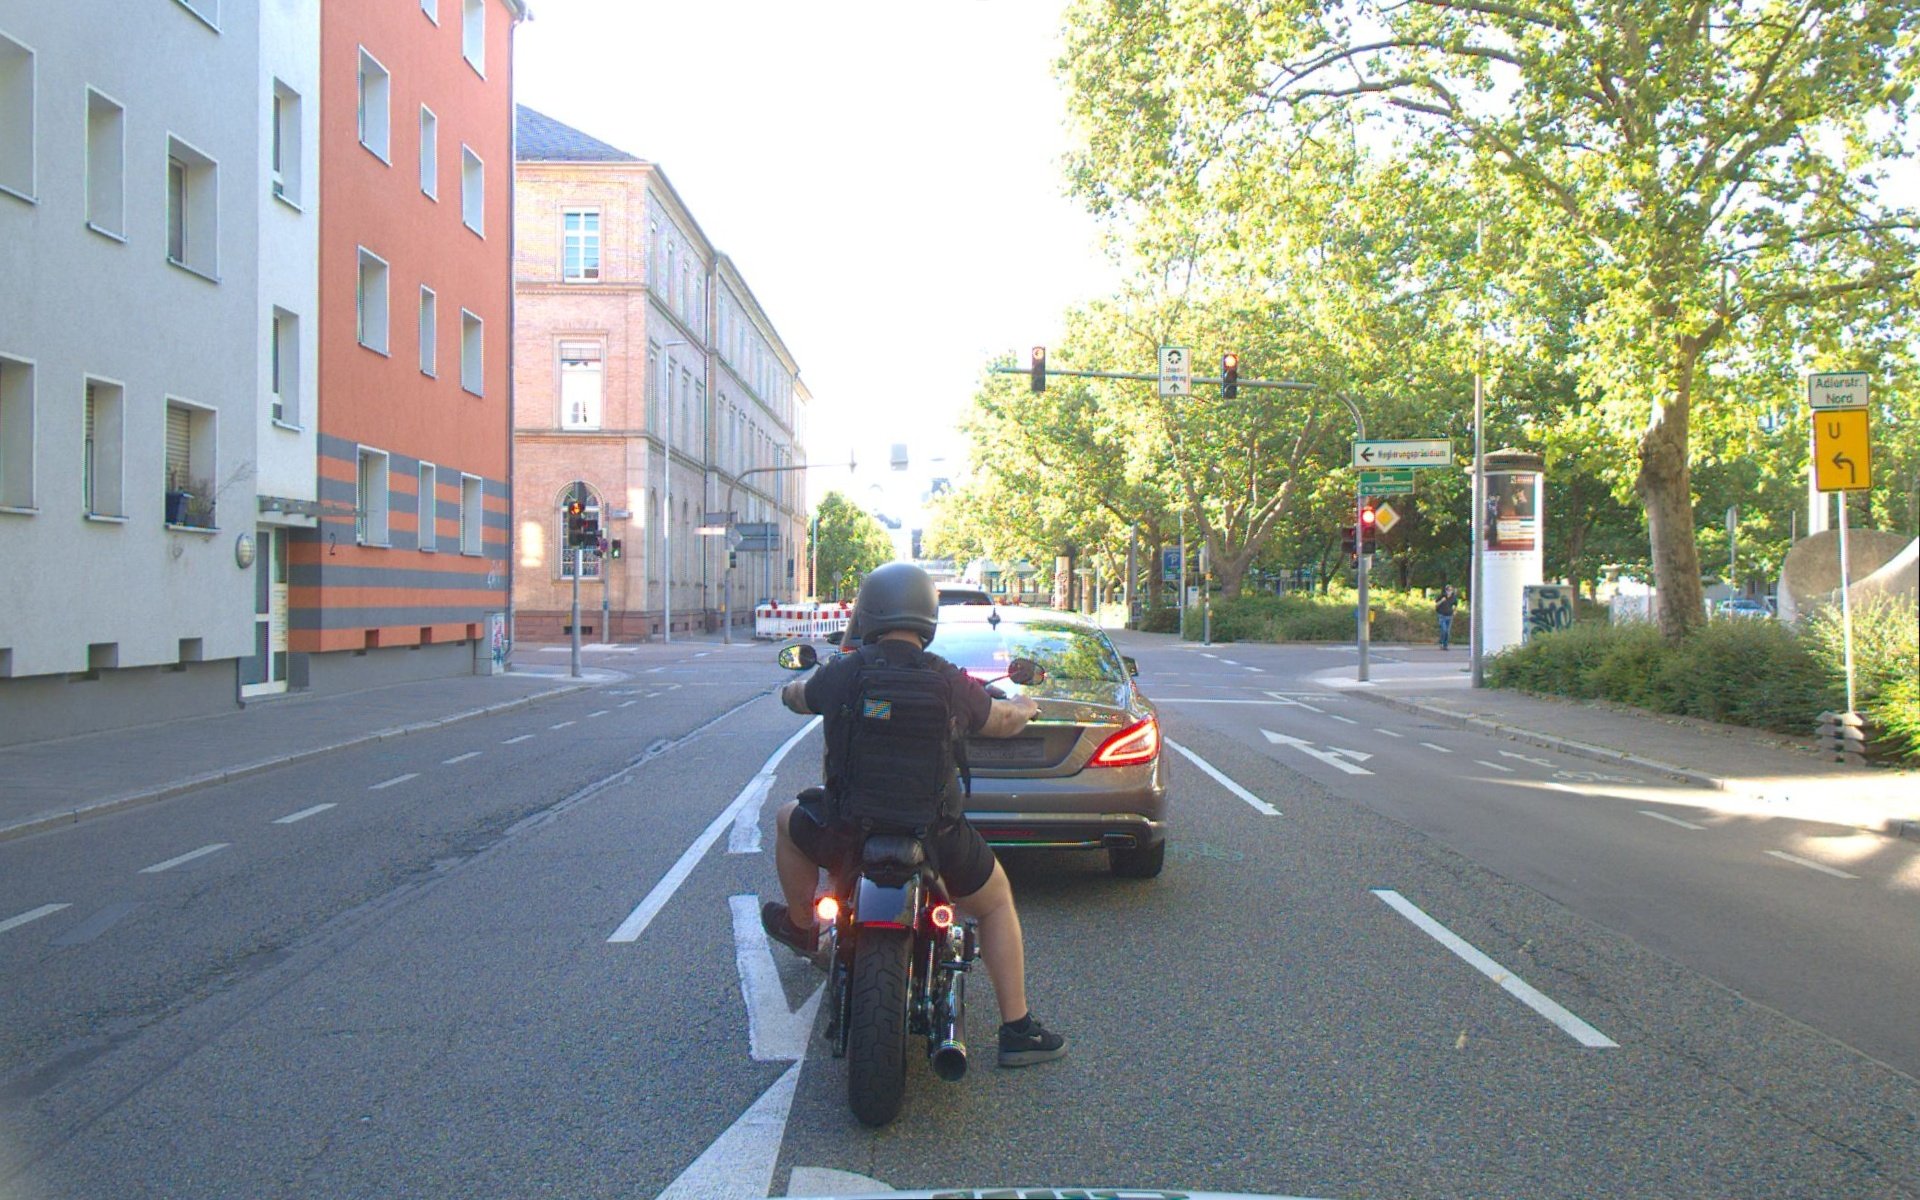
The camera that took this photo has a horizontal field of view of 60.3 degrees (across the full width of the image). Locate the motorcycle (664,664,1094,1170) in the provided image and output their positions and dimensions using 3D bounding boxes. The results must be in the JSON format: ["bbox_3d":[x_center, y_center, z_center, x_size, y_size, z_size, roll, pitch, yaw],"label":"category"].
[{"bbox_3d":[-0.130,0.872,5.475,1.094,1.228,2.213,1,0,5],"label":"motorcycle"}]

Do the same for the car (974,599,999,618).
[{"bbox_3d":[1.794,0.583,112.724,1.598,1.281,3.715,1,0,-1],"label":"car"}]

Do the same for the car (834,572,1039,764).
[{"bbox_3d":[-0.241,0.624,16.920,1.825,1.707,3.999,1,0,-1],"label":"car"}]

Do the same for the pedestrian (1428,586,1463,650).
[{"bbox_3d":[14.075,0.517,47.967,0.723,1.809,0.727,1,-1,-12],"label":"pedestrian"}]

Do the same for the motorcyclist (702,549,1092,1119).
[{"bbox_3d":[-0.143,0.661,5.255,1.076,1.593,1.072,1,0,5],"label":"motorcyclist"}]

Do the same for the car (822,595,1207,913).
[{"bbox_3d":[0.232,0.731,9.648,1.785,1.462,3.805,1,0,-1],"label":"car"}]
